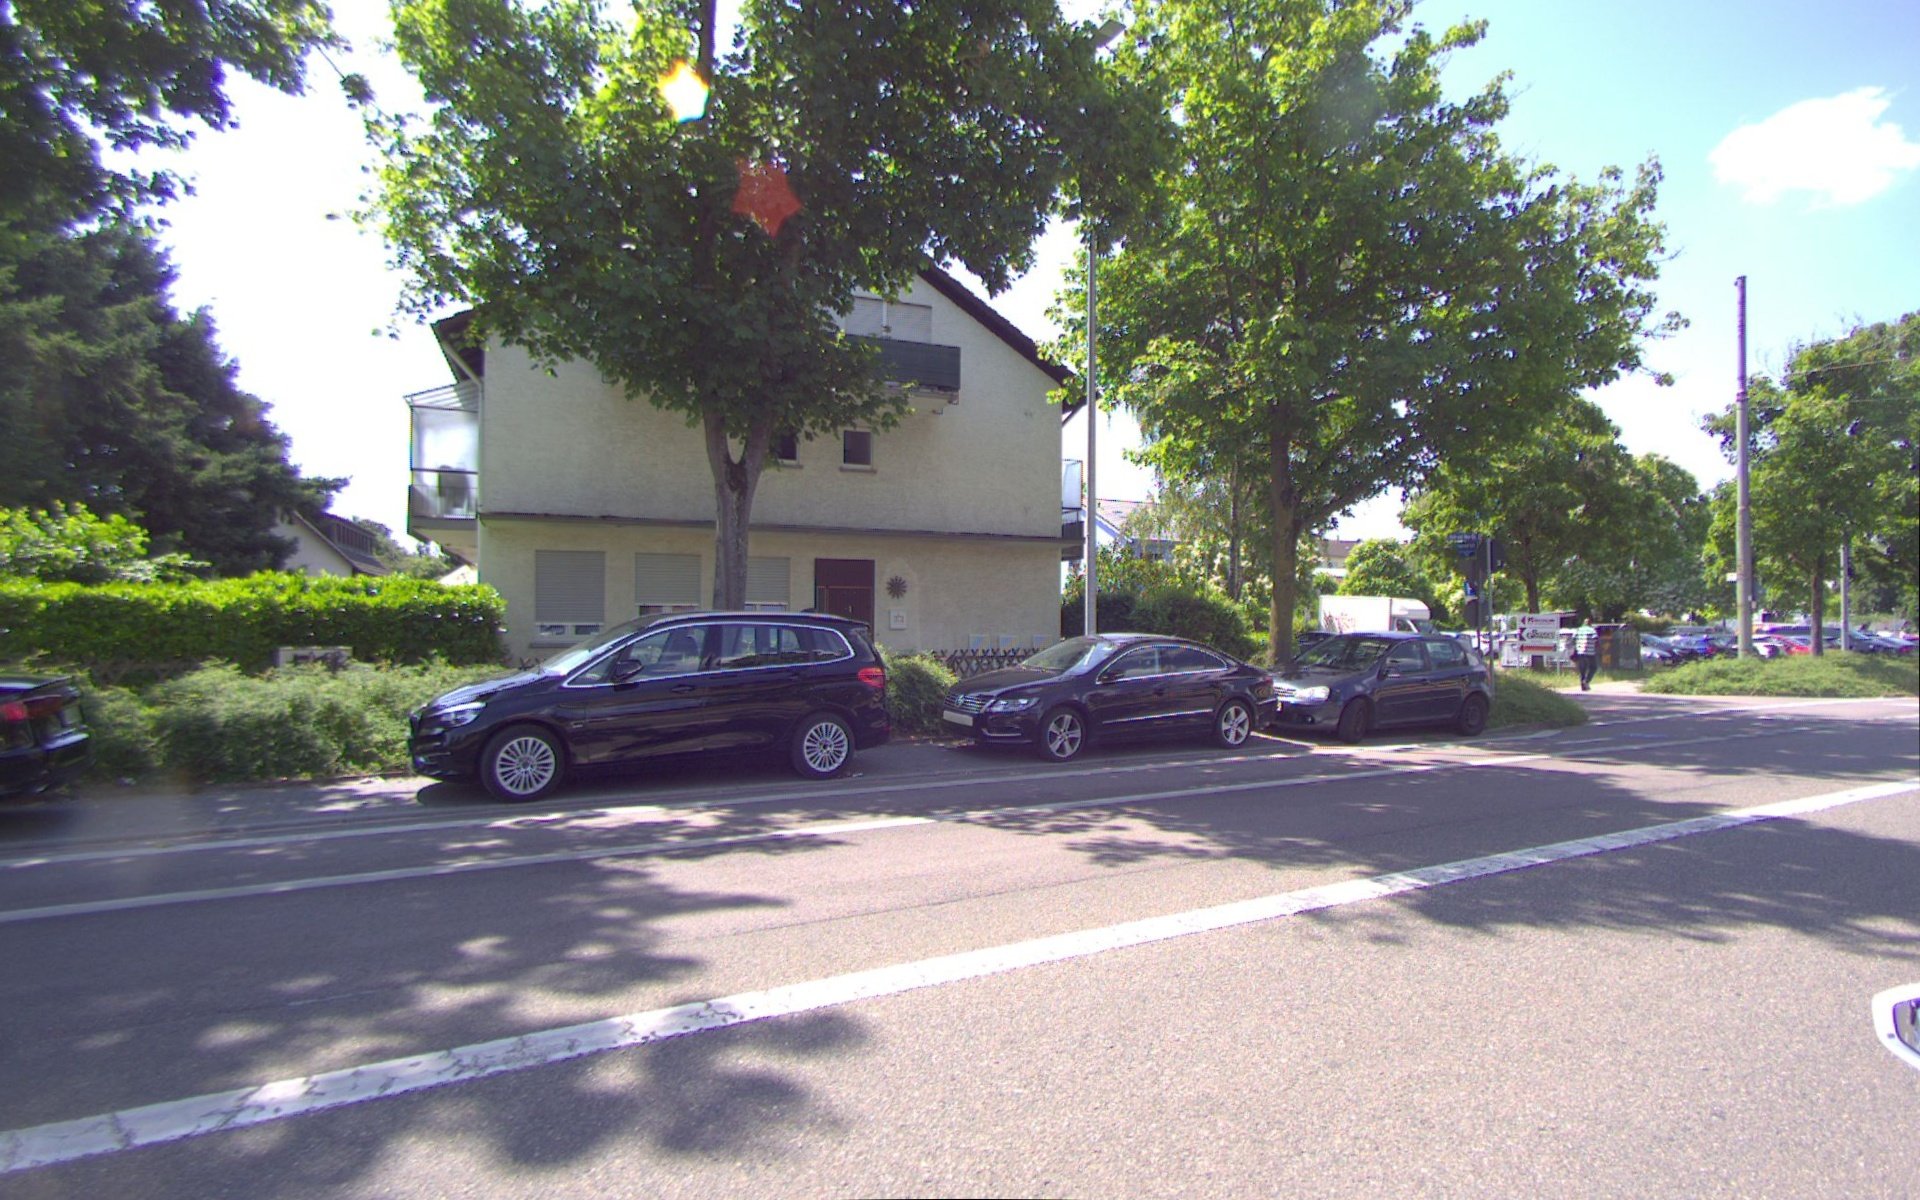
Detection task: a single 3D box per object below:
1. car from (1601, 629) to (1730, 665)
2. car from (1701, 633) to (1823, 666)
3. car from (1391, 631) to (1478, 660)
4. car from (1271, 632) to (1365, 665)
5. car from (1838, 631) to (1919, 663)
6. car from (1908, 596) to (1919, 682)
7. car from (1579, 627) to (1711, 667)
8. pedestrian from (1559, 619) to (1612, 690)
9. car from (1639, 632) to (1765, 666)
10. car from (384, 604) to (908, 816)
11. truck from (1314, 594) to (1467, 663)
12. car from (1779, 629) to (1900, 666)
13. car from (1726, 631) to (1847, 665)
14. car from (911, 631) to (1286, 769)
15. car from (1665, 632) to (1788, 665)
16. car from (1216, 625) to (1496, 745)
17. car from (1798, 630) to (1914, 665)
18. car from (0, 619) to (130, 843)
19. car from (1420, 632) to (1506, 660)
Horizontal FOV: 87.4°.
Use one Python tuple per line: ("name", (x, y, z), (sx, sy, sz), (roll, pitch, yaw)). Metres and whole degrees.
("car", (28.751, 1.869, 41.070), (1.784, 1.357, 3.968), (1, -1, -30))
("car", (36.149, 2.192, 45.367), (1.784, 1.357, 3.968), (1, -1, -30))
("car", (25.479, 2.425, 54.083), (1.784, 1.461, 3.968), (1, -1, -30))
("car", (16.647, 2.216, 46.867), (1.753, 1.417, 3.967), (1, -2, -31))
("car", (49.151, 2.461, 52.984), (1.784, 1.628, 3.968), (1, -1, -30))
("car", (31.185, 1.177, 30.156), (6.114, 2.520, 2.148), (1, -1, -28))
("car", (26.874, 1.820, 39.528), (1.784, 1.461, 3.968), (1, -1, -30))
("pedestrian", (16.587, 1.431, 26.645), (0.786, 1.847, 0.969), (1, -1, -32))
("car", (31.635, 2.049, 42.918), (1.784, 1.357, 3.968), (1, -1, -30))
("car", (-2.941, 0.899, 9.783), (4.585, 1.625, 1.765), (1, 0, -32))
("truck", (21.719, 1.430, 51.116), (2.306, 3.270, 7.149), (1, -1, -31))
("car", (41.310, 2.208, 47.265), (1.784, 1.628, 3.968), (1, -1, -30))
("car", (38.133, 2.189, 46.454), (1.784, 1.461, 3.968), (1, -2, -30))
("car", (1.837, 1.129, 12.722), (4.644, 1.391, 1.765), (1, 1, -32))
("car", (33.805, 2.108, 44.377), (1.784, 1.357, 3.968), (1, -1, -30))
("car", (5.927, 1.166, 14.948), (4.000, 1.500, 1.766), (1, 1, -30))
("car", (44.496, 2.314, 49.956), (1.784, 1.628, 3.968), (1, -1, -30))
("car", (-8.516, 0.853, 6.384), (4.750, 1.475, 1.765), (1, -1, -32))
("car", (27.759, 2.498, 55.522), (1.784, 1.461, 3.968), (1, -1, -30))
